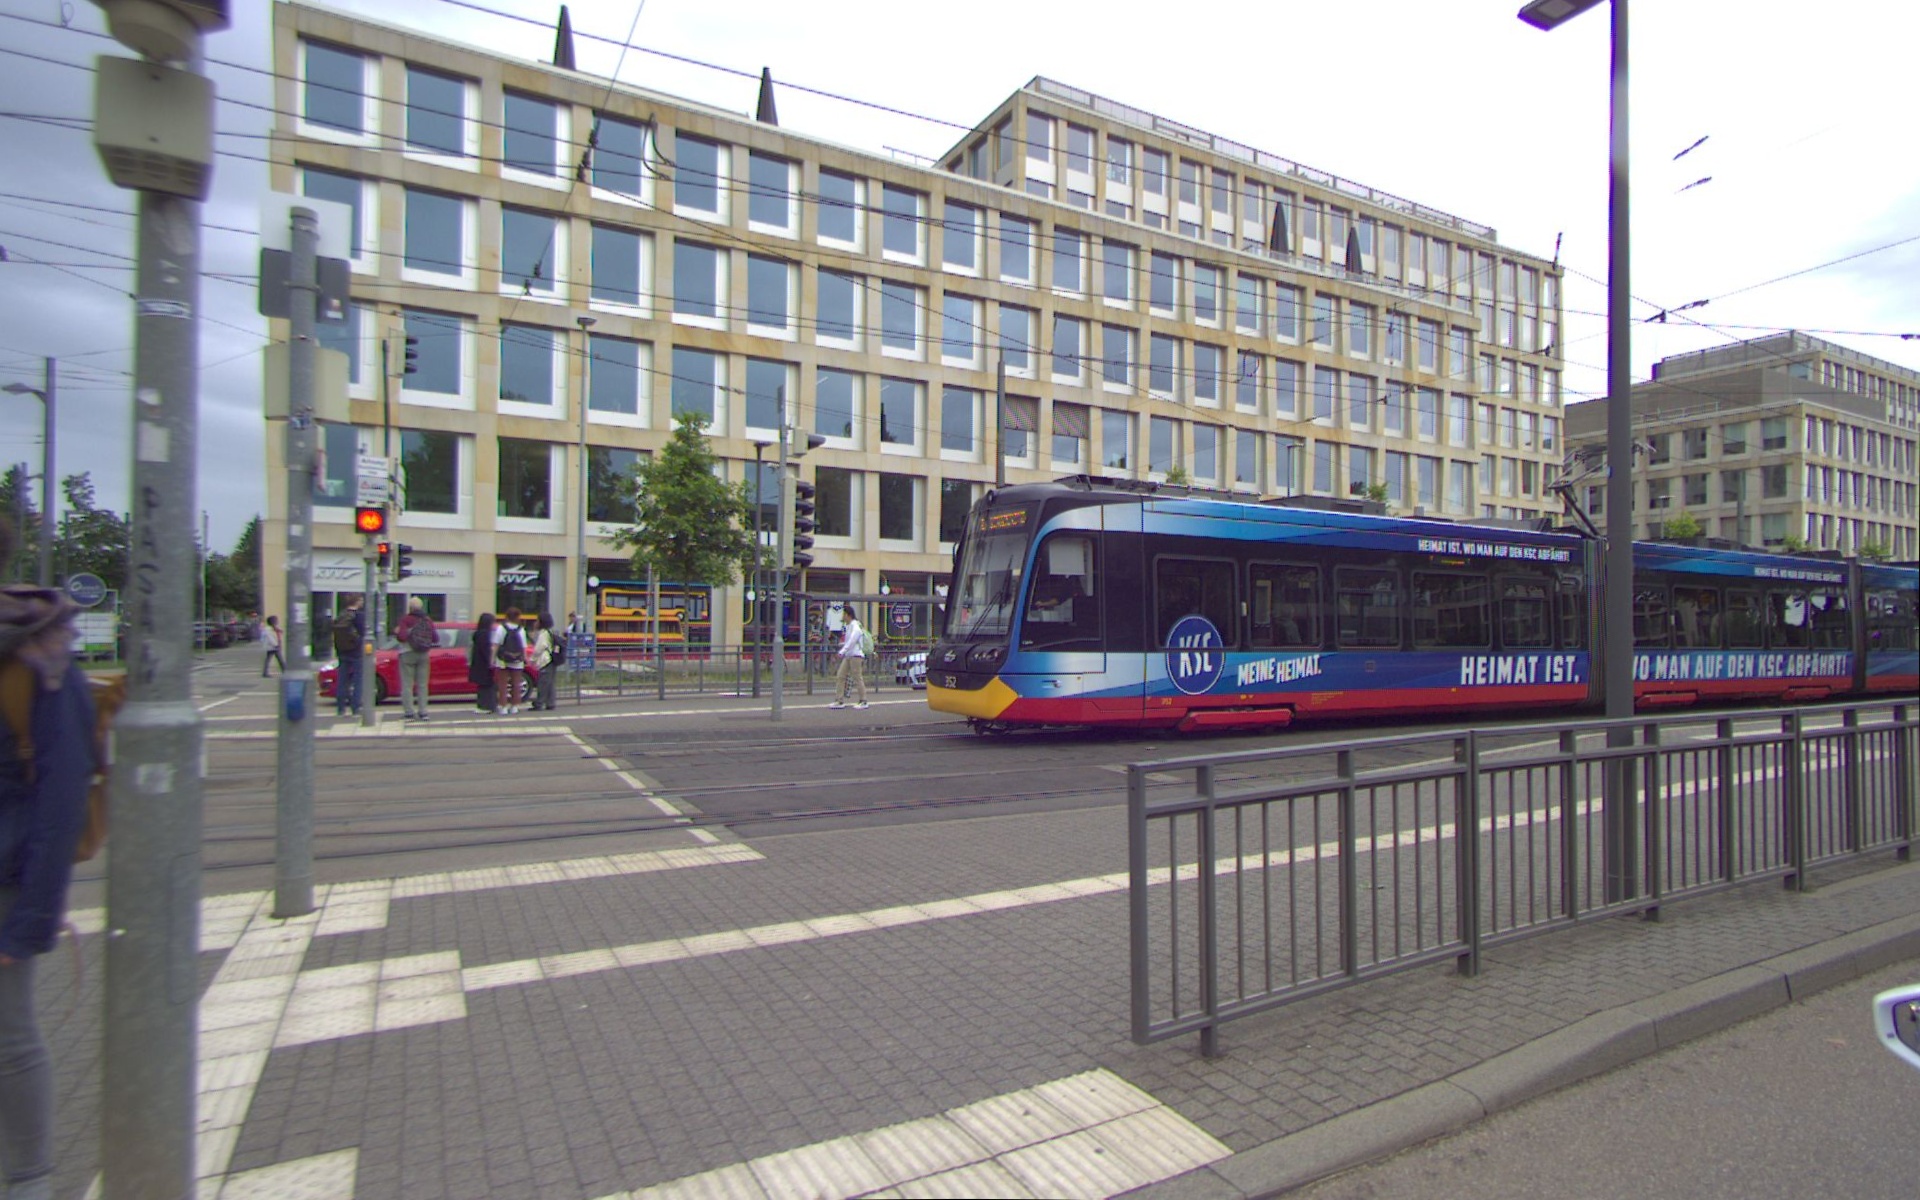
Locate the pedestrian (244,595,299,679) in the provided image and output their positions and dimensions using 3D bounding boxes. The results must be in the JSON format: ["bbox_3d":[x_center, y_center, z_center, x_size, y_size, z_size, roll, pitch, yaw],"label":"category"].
[{"bbox_3d":[-17.298,0.932,25.262,0.986,2.040,1.038,2,-2,-30],"label":"pedestrian"}]

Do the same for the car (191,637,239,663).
[{"bbox_3d":[-43.473,2.896,58.648,1.700,1.439,3.272,1,-2,-27],"label":"car"}]

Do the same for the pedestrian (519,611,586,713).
[{"bbox_3d":[-6.706,1.009,16.541,0.705,1.619,0.706,0,-2,35],"label":"pedestrian"}]

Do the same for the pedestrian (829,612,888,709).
[{"bbox_3d":[-1.743,1.026,17.205,0.757,1.606,0.704,2,-2,-31],"label":"pedestrian"}]

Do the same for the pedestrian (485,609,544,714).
[{"bbox_3d":[-7.036,0.967,15.893,0.514,1.619,0.717,1,-2,6],"label":"pedestrian"}]

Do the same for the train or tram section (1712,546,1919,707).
[{"bbox_3d":[25.806,0.881,27.957,13.362,3.740,2.841,2,-2,-30],"label":"train or tram section"}]

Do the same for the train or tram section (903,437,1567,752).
[{"bbox_3d":[4.933,0.173,15.913,11.627,3.688,2.841,2,-2,-30],"label":"train or tram section"}]

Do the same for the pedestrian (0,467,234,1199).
[{"bbox_3d":[-2.182,0.584,2.109,0.844,1.664,0.653,0,-2,20],"label":"pedestrian"}]

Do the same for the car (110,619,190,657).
[{"bbox_3d":[-32.514,1.521,40.423,1.773,1.439,3.677,1,-2,-27],"label":"car"}]

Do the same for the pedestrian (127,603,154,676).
[{"bbox_3d":[-20.578,0.983,25.238,0.457,1.817,0.411,2,-2,-39],"label":"pedestrian"}]

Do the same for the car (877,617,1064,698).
[{"bbox_3d":[0.263,1.349,23.736,3.953,1.761,1.985,2,-2,-30],"label":"car"}]

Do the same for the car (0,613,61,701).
[{"bbox_3d":[-18.699,0.982,17.748,4.278,1.514,1.745,0,-2,6],"label":"car"}]

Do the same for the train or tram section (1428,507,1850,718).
[{"bbox_3d":[15.005,0.452,21.686,11.563,3.688,2.841,2,-2,-30],"label":"train or tram section"}]

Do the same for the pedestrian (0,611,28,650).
[{"bbox_3d":[-49.329,1.587,52.195,1.058,2.040,1.114,2,-2,-31],"label":"pedestrian"}]

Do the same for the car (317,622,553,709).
[{"bbox_3d":[-9.706,1.174,18.729,3.725,1.468,1.730,1,-2,-31],"label":"car"}]

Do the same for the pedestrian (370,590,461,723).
[{"bbox_3d":[-8.004,0.815,14.793,0.838,1.892,0.748,1,-2,12],"label":"pedestrian"}]

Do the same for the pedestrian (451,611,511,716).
[{"bbox_3d":[-7.576,0.992,15.898,0.514,1.619,0.717,1,-2,6],"label":"pedestrian"}]

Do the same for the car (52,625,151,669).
[{"bbox_3d":[-29.792,1.587,34.973,1.773,1.439,3.677,1,-2,-27],"label":"car"}]

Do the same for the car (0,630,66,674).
[{"bbox_3d":[-37.313,2.040,40.046,1.980,1.617,3.961,2,-2,-35],"label":"car"}]

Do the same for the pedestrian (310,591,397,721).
[{"bbox_3d":[-9.143,0.827,15.159,0.839,1.892,0.747,0,-2,27],"label":"pedestrian"}]
